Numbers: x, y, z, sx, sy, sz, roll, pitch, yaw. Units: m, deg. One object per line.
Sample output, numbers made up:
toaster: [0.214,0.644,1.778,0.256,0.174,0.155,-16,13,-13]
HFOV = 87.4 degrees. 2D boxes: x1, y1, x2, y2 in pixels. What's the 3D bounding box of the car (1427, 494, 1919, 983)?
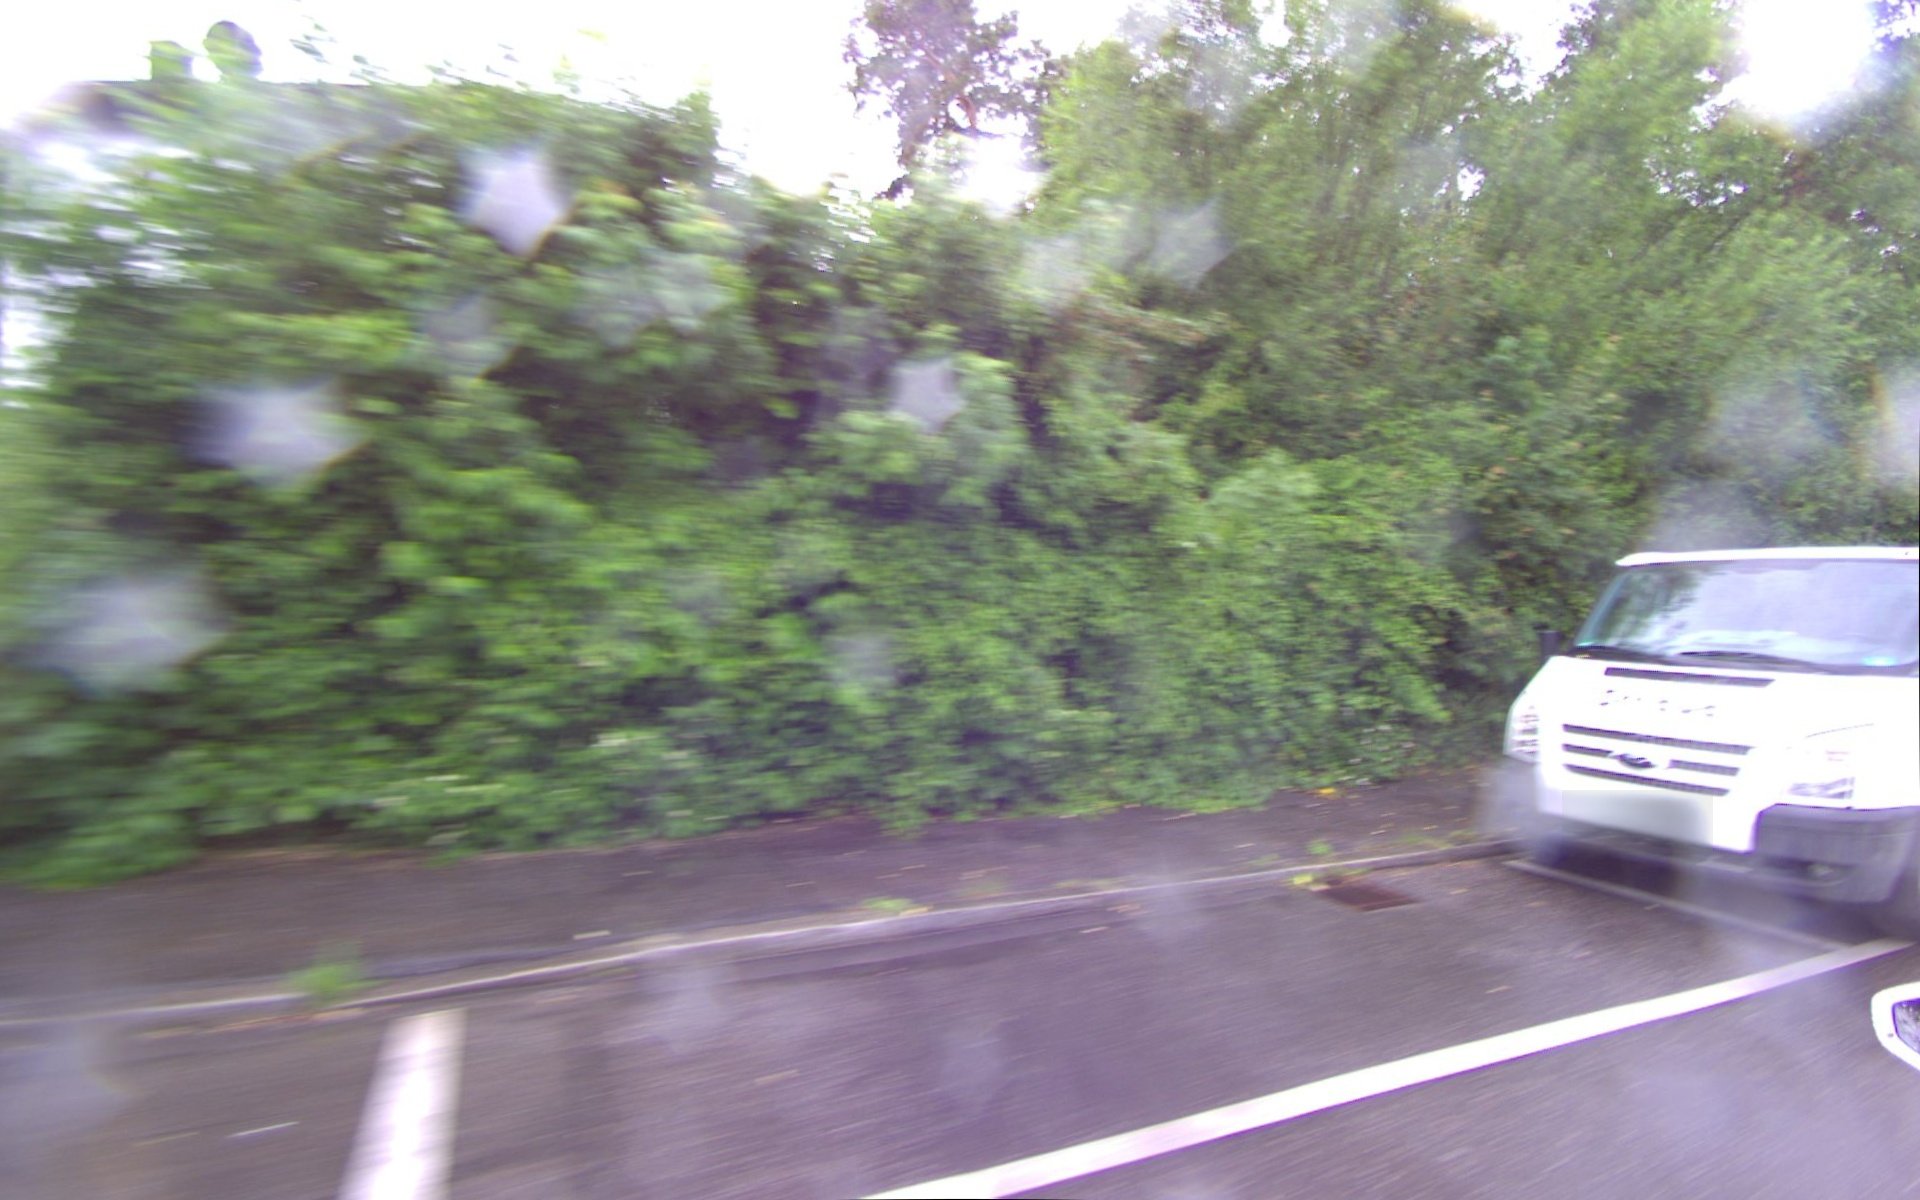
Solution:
car: [5.501,0.619,6.326,5.112,2.001,2.101,2,0,-30]
